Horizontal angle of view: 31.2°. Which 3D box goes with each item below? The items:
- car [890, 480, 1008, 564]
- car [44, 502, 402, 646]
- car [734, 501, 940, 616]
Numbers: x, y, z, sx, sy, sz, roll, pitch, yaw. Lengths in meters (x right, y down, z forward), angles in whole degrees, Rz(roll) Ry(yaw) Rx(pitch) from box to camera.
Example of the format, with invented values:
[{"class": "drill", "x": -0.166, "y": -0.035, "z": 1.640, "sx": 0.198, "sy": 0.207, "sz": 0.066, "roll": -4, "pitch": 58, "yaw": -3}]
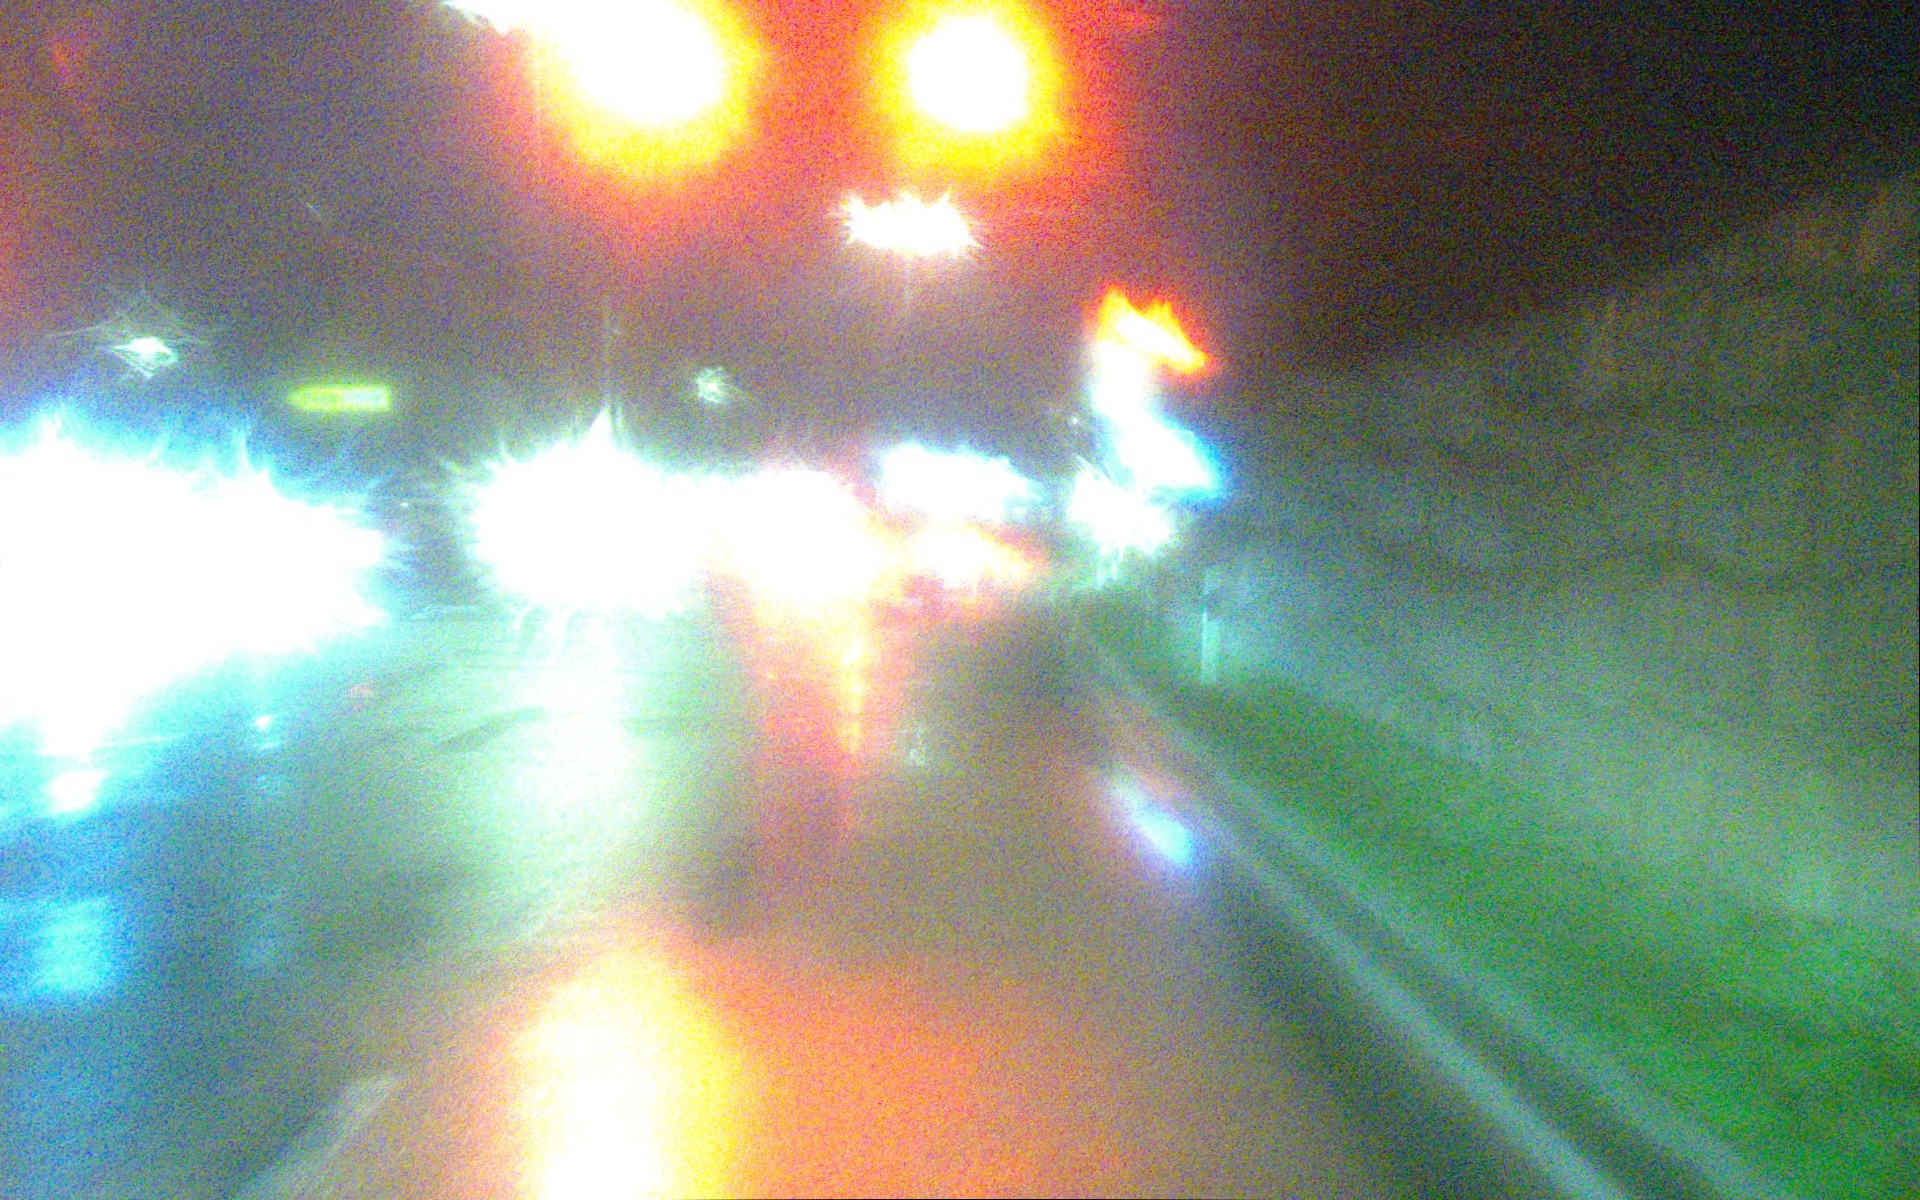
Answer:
[{"class": "car", "x": -0.161, "y": -1.375, "z": 60.477, "sx": 1.962, "sy": 1.423, "sz": 3.933, "roll": 0, "pitch": 1, "yaw": 1}, {"class": "car", "x": -8.811, "y": -0.333, "z": 41.407, "sx": 3.986, "sy": 1.656, "sz": 2.000, "roll": 0, "pitch": 1, "yaw": -5}, {"class": "car", "x": -1.796, "y": -0.643, "z": 51.648, "sx": 1.995, "sy": 1.656, "sz": 3.997, "roll": 0, "pitch": 1, "yaw": 15}]
